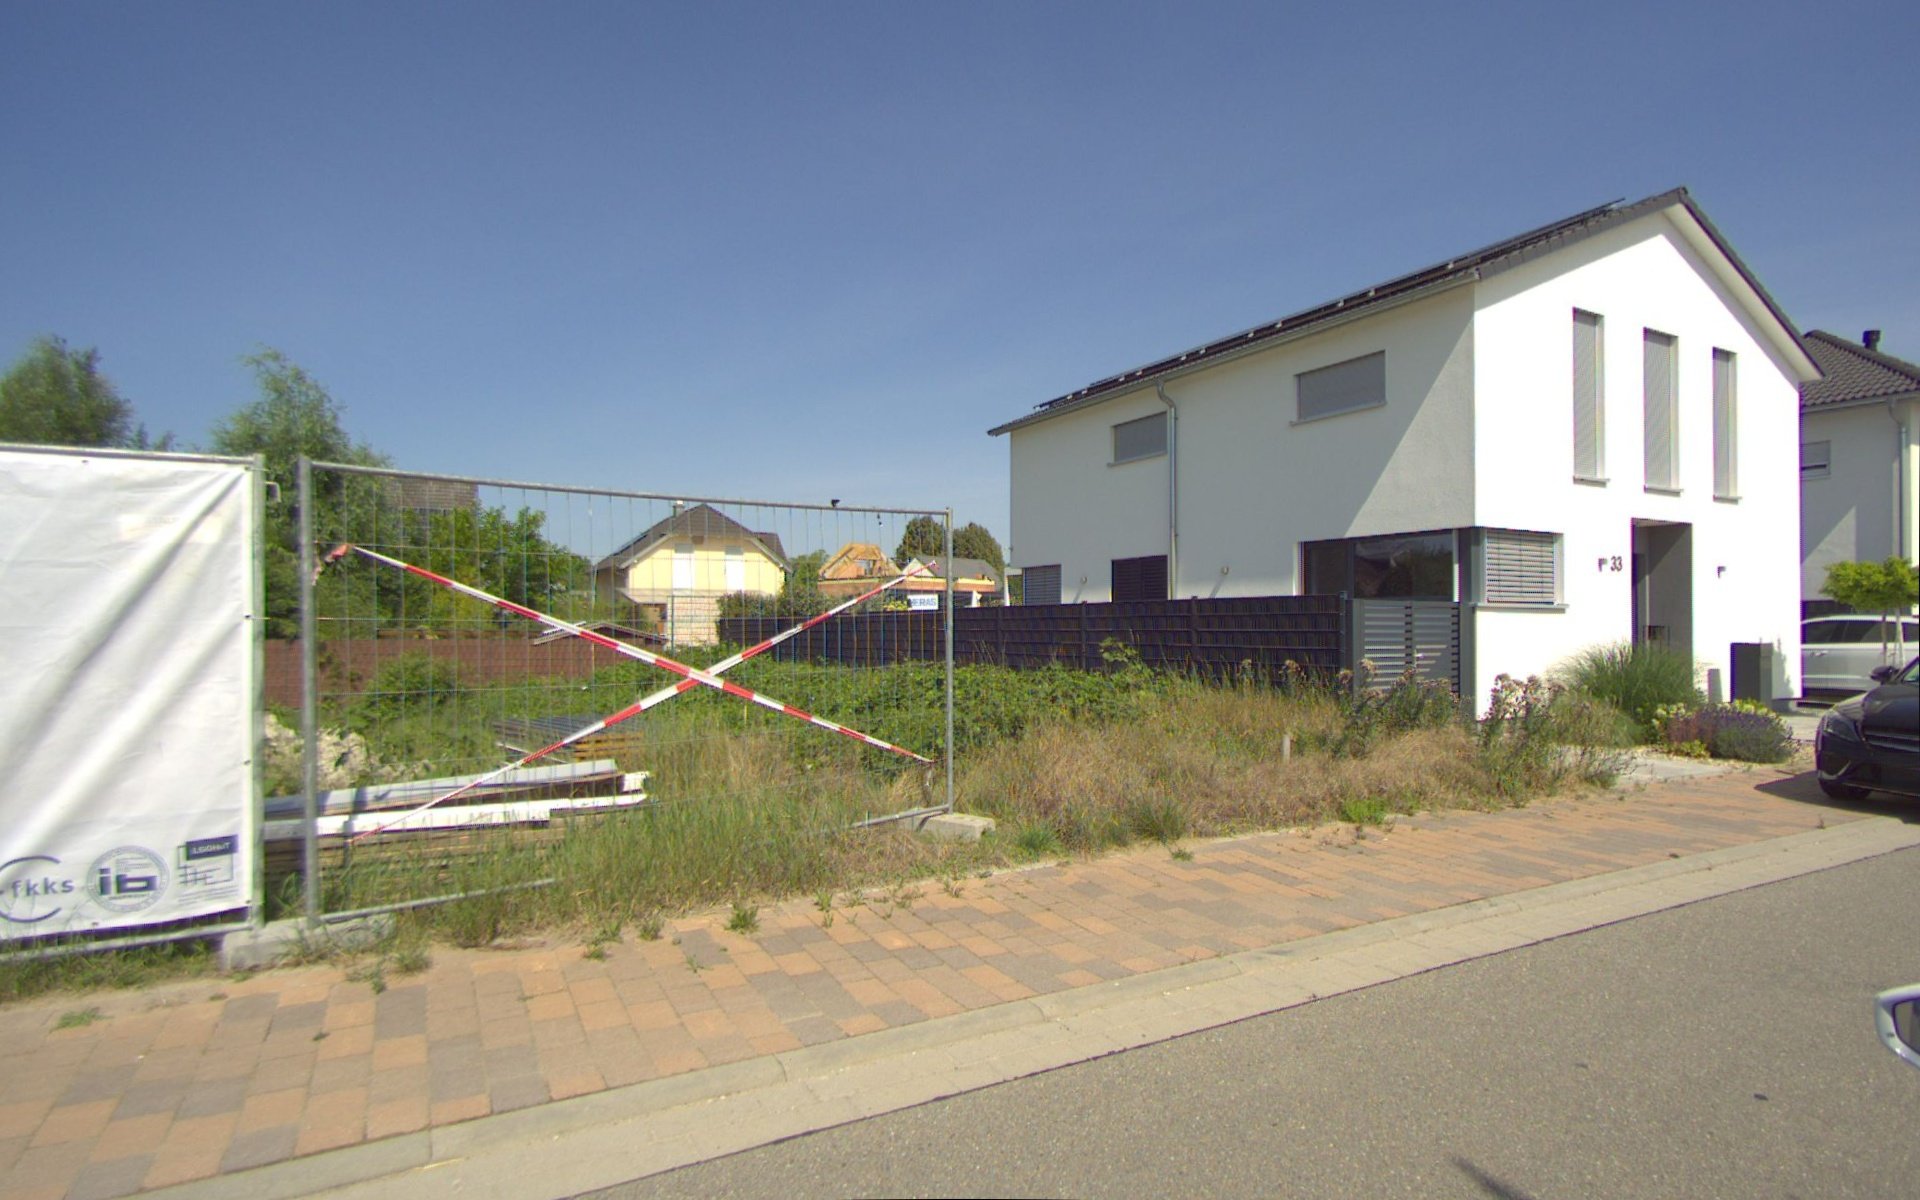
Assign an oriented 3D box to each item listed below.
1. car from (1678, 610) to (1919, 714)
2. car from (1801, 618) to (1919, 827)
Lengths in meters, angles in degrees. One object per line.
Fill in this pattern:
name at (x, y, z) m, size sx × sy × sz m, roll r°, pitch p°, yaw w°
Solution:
car at (15.307, 1.016, 17.736) m, size 1.769 × 1.641 × 3.944 m, roll 1°, pitch -1°, yaw -24°
car at (9.008, 0.955, 8.314) m, size 4.392 × 1.492 × 1.682 m, roll 1°, pitch 2°, yaw -30°
